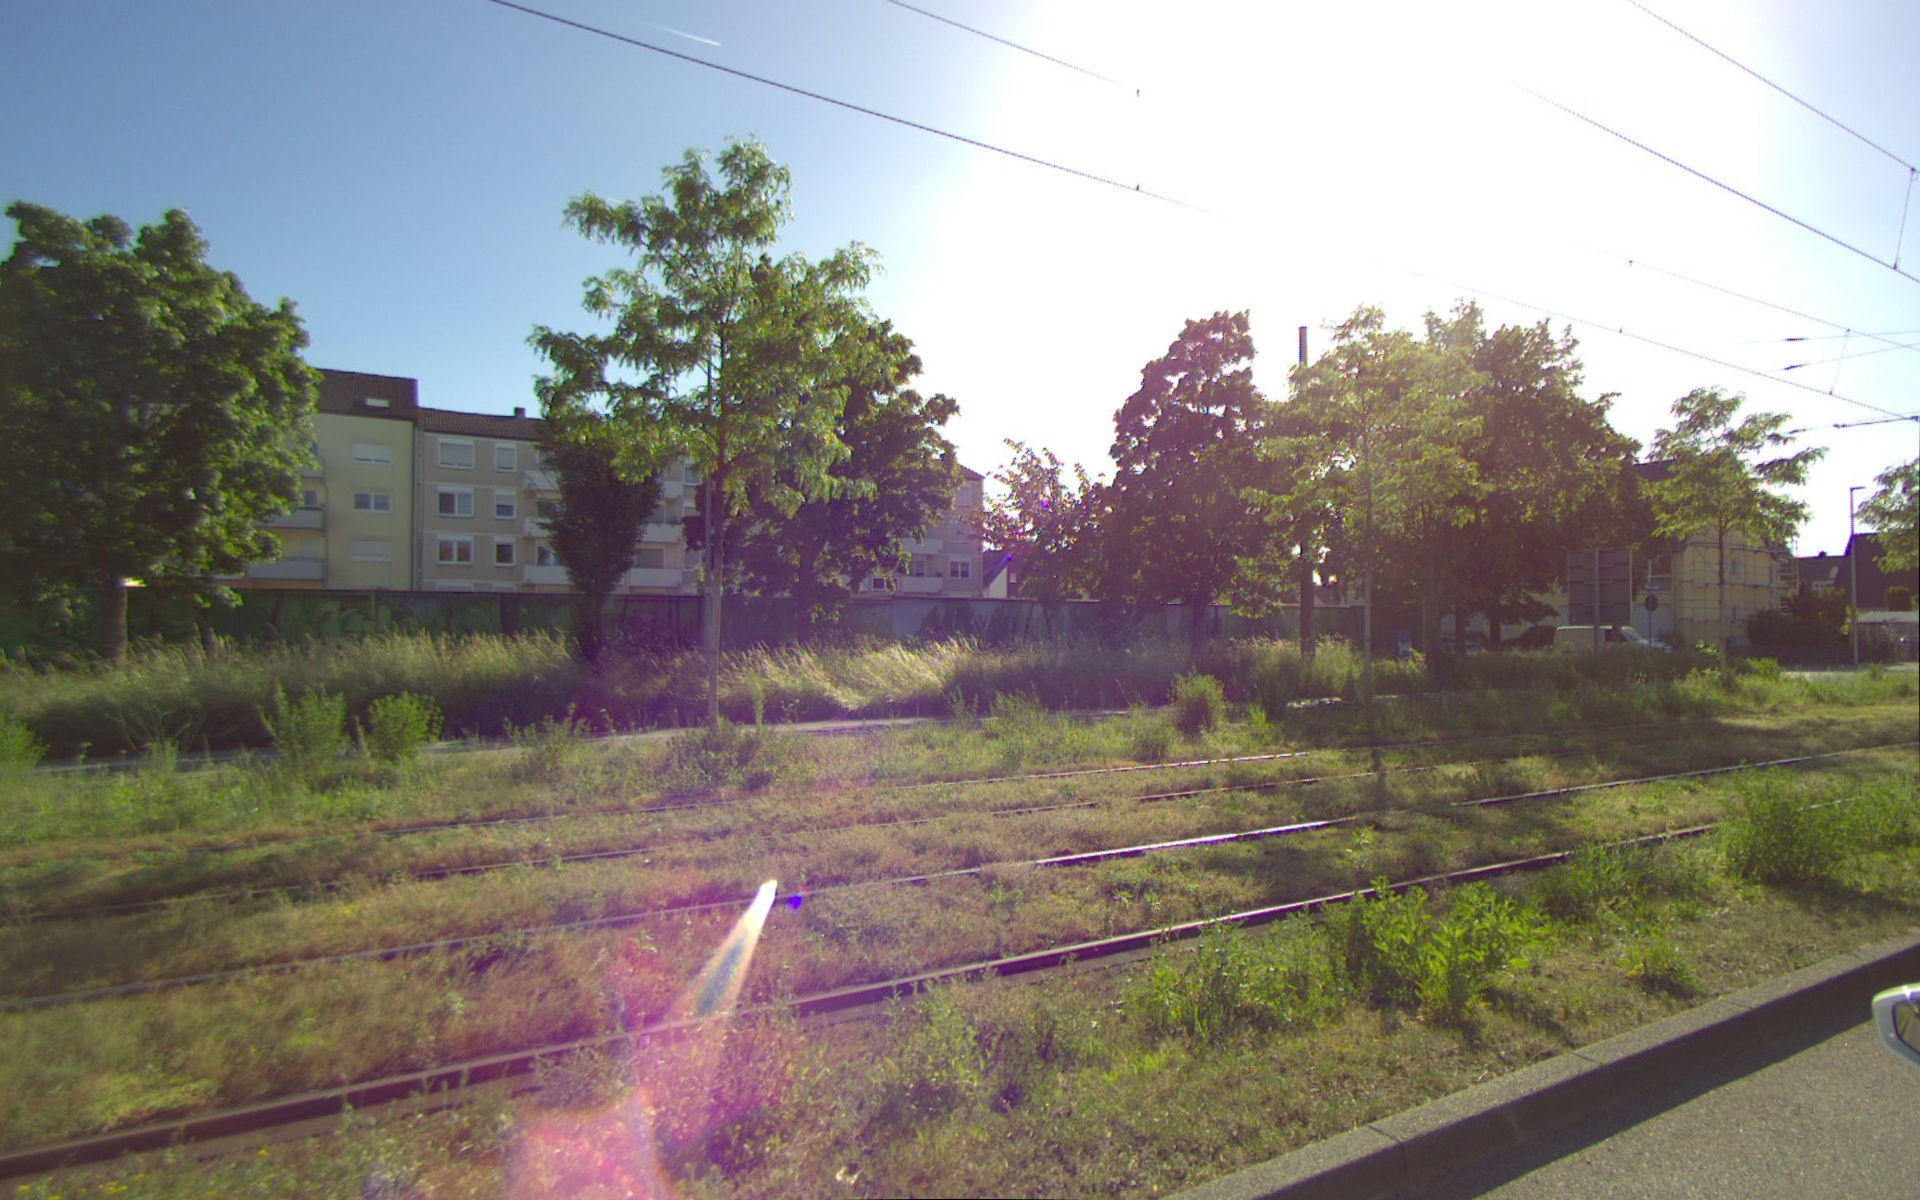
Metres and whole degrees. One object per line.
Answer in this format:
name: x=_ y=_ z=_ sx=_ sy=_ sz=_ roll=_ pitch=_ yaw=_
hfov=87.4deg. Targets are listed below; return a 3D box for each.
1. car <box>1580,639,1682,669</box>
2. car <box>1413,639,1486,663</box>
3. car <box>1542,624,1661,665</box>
car: x=34.262 y=2.718 z=51.357 sx=1.832 sy=1.422 sz=3.969 roll=4 pitch=-4 yaw=-30
car: x=29.250 y=3.051 z=60.093 sx=1.542 sy=1.363 sz=3.713 roll=3 pitch=-3 yaw=-30
car: x=31.855 y=2.184 z=50.002 sx=1.881 sy=1.940 sz=4.666 roll=1 pitch=-2 yaw=-29
